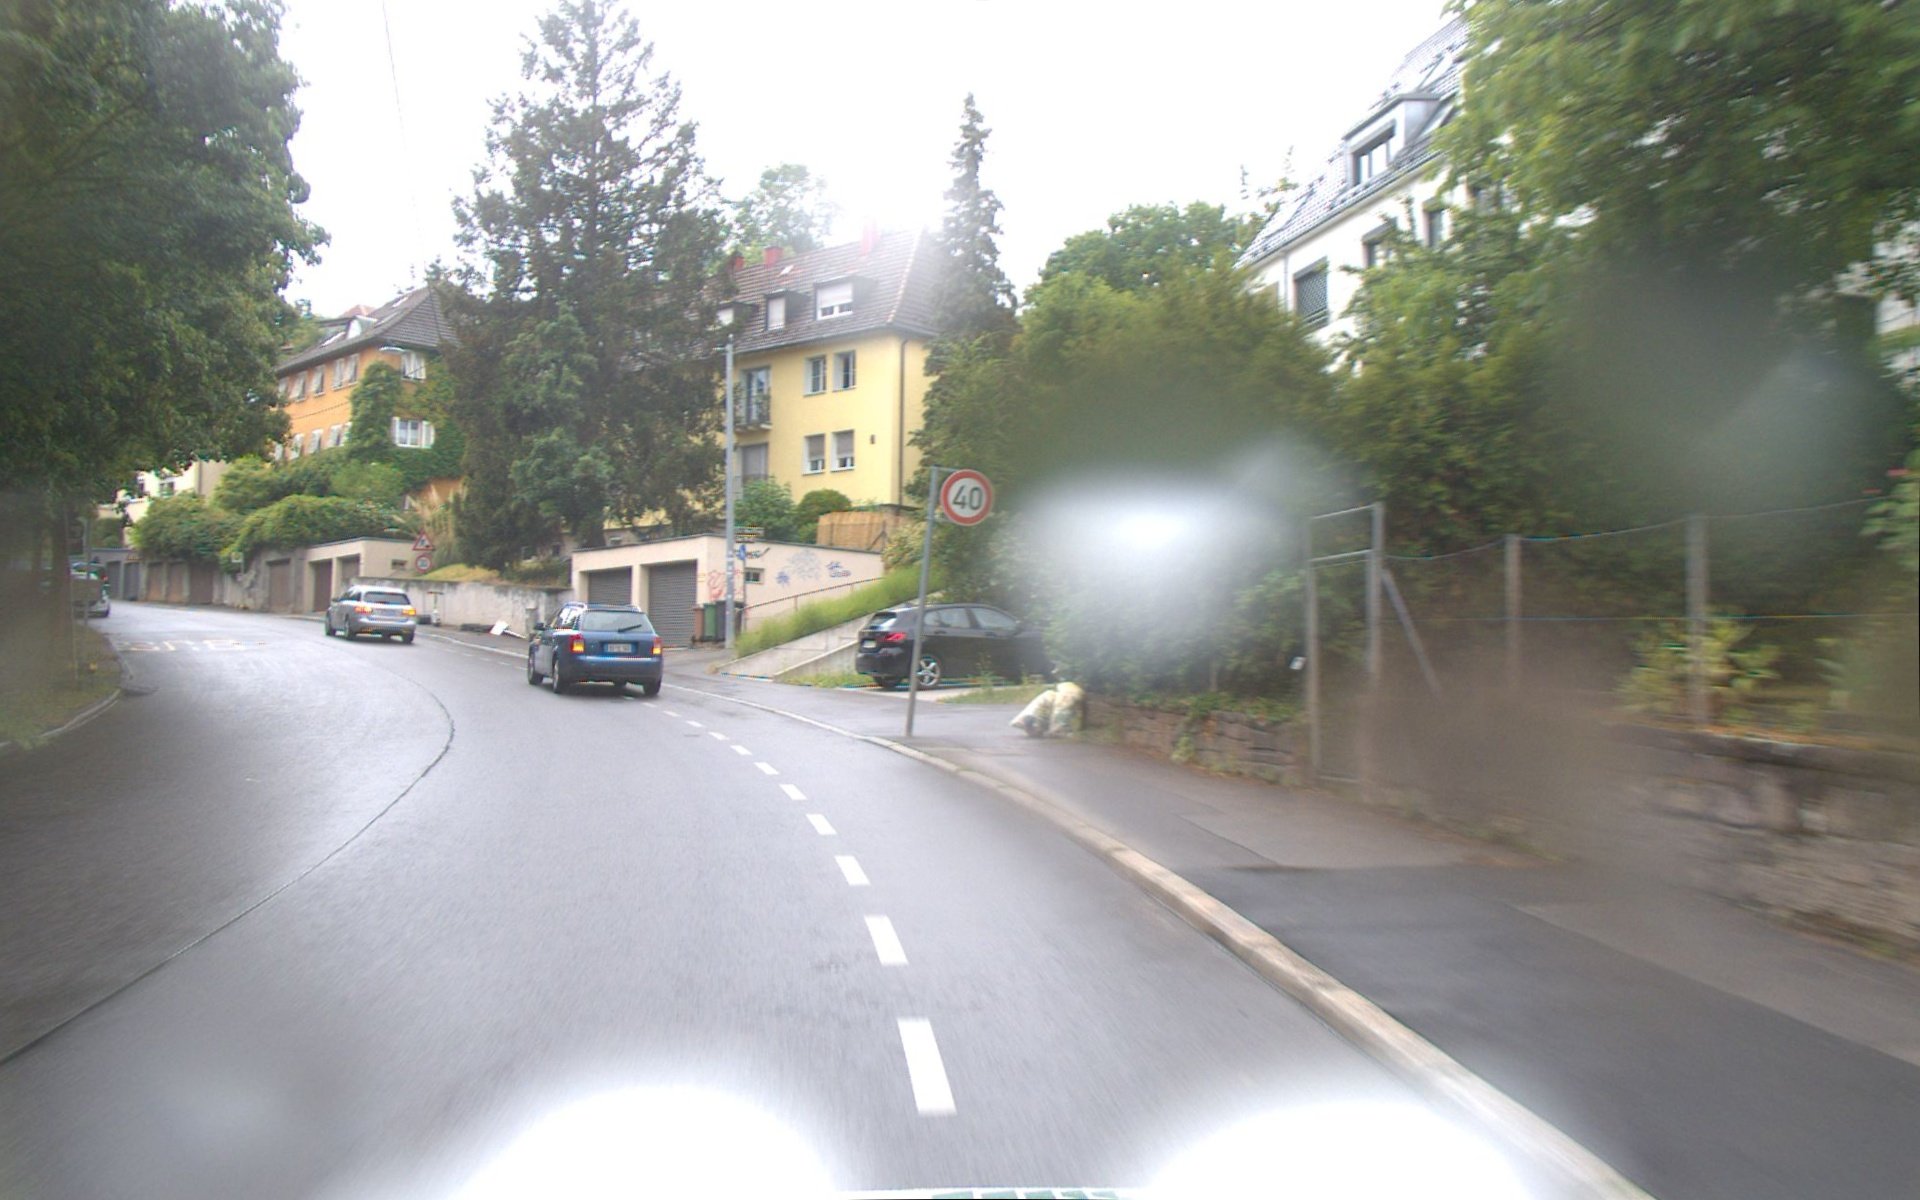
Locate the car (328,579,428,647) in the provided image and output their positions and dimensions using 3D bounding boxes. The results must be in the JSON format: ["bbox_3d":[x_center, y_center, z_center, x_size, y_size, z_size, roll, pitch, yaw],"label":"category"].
[{"bbox_3d":[-16.266,0.327,46.088,1.928,1.588,4.224,3,1,-28],"label":"car"}]

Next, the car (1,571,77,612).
[{"bbox_3d":[-36.726,-0.349,65.900,1.981,1.601,3.943,0,0,-40],"label":"car"}]

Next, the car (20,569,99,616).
[{"bbox_3d":[-33.533,-0.293,61.550,1.866,1.624,3.944,1,0,-39],"label":"car"}]

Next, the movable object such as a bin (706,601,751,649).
[{"bbox_3d":[-5.939,0.645,42.390,0.856,1.206,0.774,0,0,-45],"label":"movable object such as a bin"}]

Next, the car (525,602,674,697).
[{"bbox_3d":[-6.194,0.775,28.093,1.828,1.438,4.333,0,0,-21],"label":"car"}]

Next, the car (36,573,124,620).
[{"bbox_3d":[-30.692,-0.128,57.649,1.981,1.557,3.944,1,0,-39],"label":"car"}]

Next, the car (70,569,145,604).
[{"bbox_3d":[-44.247,-0.691,85.847,3.923,1.713,1.991,1,0,38],"label":"car"}]

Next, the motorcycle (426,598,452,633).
[{"bbox_3d":[-17.853,0.538,56.674,0.542,1.151,1.426,1,0,-29],"label":"motorcycle"}]

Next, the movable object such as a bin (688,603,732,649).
[{"bbox_3d":[-6.492,0.661,42.958,0.856,1.162,0.786,0,0,-45],"label":"movable object such as a bin"}]

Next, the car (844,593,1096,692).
[{"bbox_3d":[0.177,0.709,29.220,4.116,1.534,1.727,-2,1,-25],"label":"car"}]

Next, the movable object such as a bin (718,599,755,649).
[{"bbox_3d":[-5.641,0.596,41.740,0.571,1.245,0.699,0,0,45],"label":"movable object such as a bin"}]
